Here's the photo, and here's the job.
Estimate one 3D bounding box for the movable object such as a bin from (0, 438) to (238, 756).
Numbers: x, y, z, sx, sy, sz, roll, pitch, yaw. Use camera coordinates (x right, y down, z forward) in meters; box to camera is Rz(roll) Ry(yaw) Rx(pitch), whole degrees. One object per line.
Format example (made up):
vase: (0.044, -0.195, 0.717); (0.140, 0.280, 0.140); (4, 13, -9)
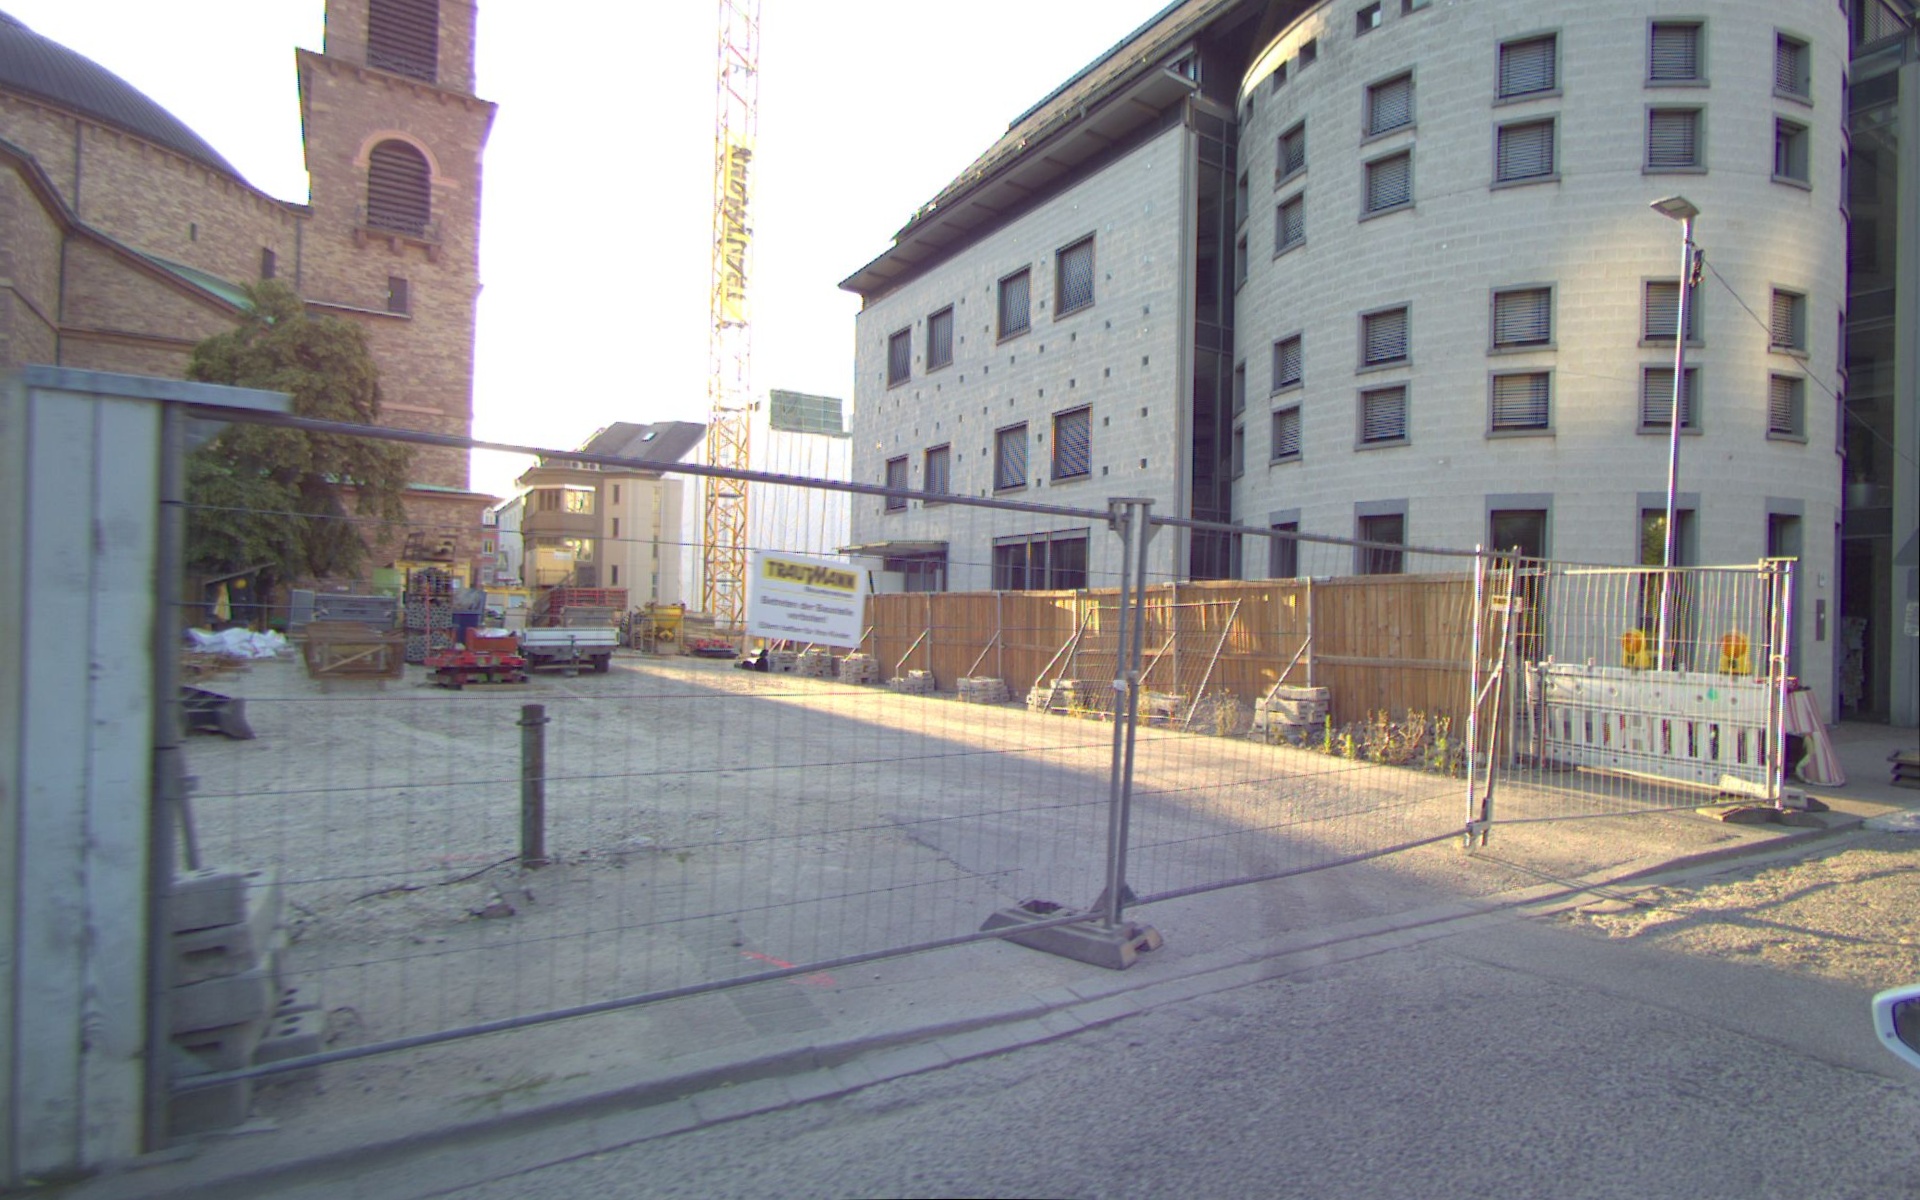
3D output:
movable object such as a bin: (-8.629, -0.017, 9.195); (2.125, 2.637, 2.738); (0, -1, 37)

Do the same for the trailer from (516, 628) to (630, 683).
trailer: (-8.311, 1.125, 21.354); (1.973, 1.004, 4.341); (2, -2, -25)
